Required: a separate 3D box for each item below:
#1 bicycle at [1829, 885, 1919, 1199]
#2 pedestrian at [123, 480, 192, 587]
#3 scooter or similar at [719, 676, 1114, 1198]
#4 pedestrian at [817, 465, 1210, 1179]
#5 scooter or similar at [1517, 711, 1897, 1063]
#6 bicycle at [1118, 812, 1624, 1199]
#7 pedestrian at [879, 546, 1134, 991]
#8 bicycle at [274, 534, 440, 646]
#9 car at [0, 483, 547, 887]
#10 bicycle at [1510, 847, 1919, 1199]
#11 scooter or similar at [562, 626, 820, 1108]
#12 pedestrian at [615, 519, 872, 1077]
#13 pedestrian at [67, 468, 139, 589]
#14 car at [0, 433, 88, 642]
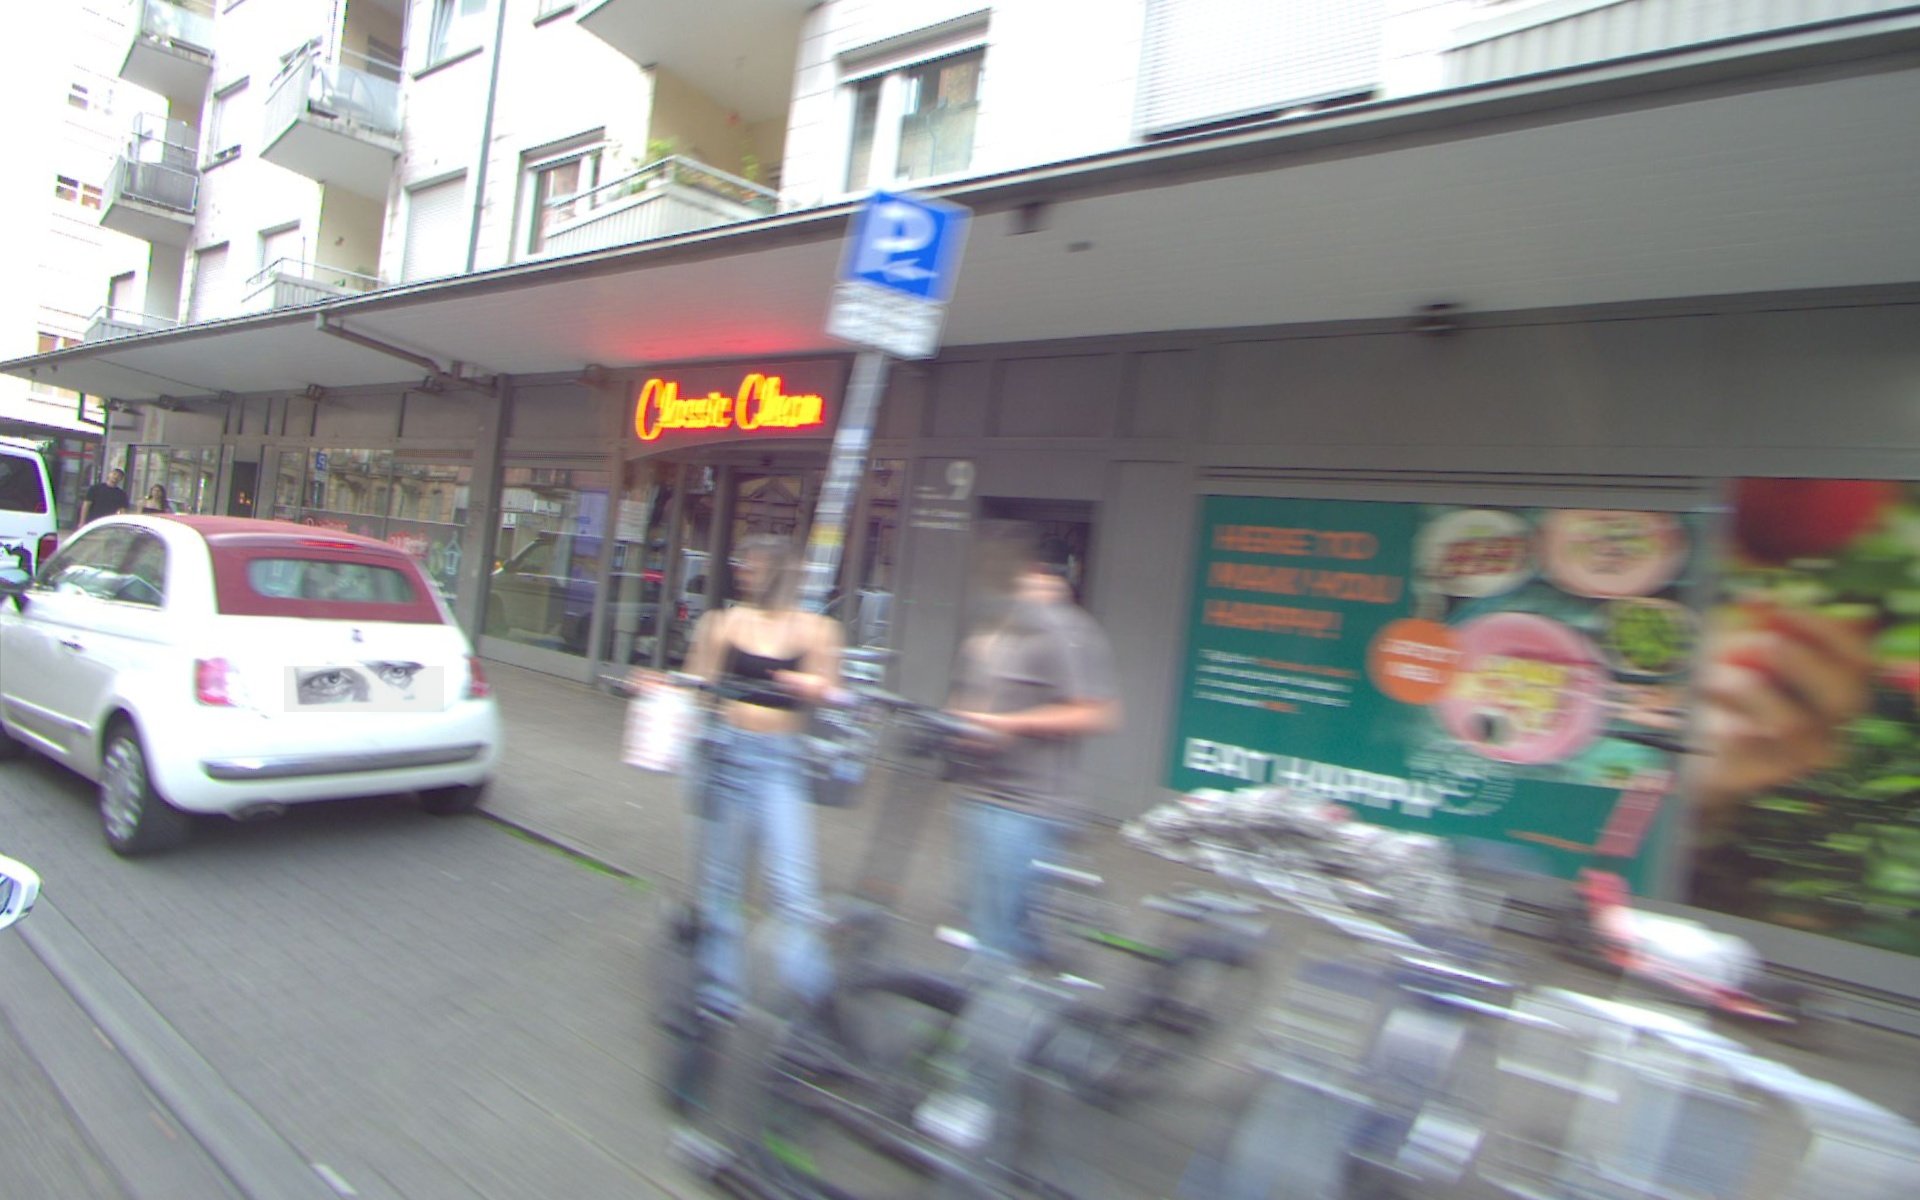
[{"bbox_3d":[2.022,1.199,1.757,0.502,1.014,1.548,6,0,33],"label":"bicycle"},{"bbox_3d":[-13.422,-1.103,16.820,0.735,1.686,0.707,6,1,43],"label":"pedestrian"},{"bbox_3d":[-0.063,0.868,3.067,0.528,1.186,1.161,9,2,29],"label":"scooter or similar"},{"bbox_3d":[0.154,0.546,2.967,0.727,1.779,0.660,8,2,41],"label":"pedestrian"},{"bbox_3d":[3.328,1.218,4.584,0.531,1.218,1.156,7,0,-27],"label":"scooter or similar"},{"bbox_3d":[0.971,1.083,2.204,0.504,1.015,1.475,6,1,42],"label":"bicycle"},{"bbox_3d":[0.198,0.653,4.259,0.714,1.653,0.561,8,3,32],"label":"pedestrian"},{"bbox_3d":[-7.589,-0.128,12.678,1.680,1.211,0.912,6,2,23],"label":"bicycle"},{"bbox_3d":[-4.065,0.261,5.585,3.368,1.520,1.592,7,1,34],"label":"car"},{"bbox_3d":[1.381,1.129,1.936,0.502,0.996,1.418,6,0,33],"label":"bicycle"},{"bbox_3d":[-0.849,0.752,3.252,0.529,1.186,1.159,7,2,-14],"label":"scooter or similar"},{"bbox_3d":[-0.672,0.598,3.316,0.581,1.620,0.647,6,1,-4],"label":"pedestrian"},{"bbox_3d":[-13.911,-1.156,16.326,0.849,1.851,0.707,6,1,43],"label":"pedestrian"},{"bbox_3d":[-11.432,-0.878,10.875,4.925,1.999,1.957,7,2,37],"label":"car"}]
